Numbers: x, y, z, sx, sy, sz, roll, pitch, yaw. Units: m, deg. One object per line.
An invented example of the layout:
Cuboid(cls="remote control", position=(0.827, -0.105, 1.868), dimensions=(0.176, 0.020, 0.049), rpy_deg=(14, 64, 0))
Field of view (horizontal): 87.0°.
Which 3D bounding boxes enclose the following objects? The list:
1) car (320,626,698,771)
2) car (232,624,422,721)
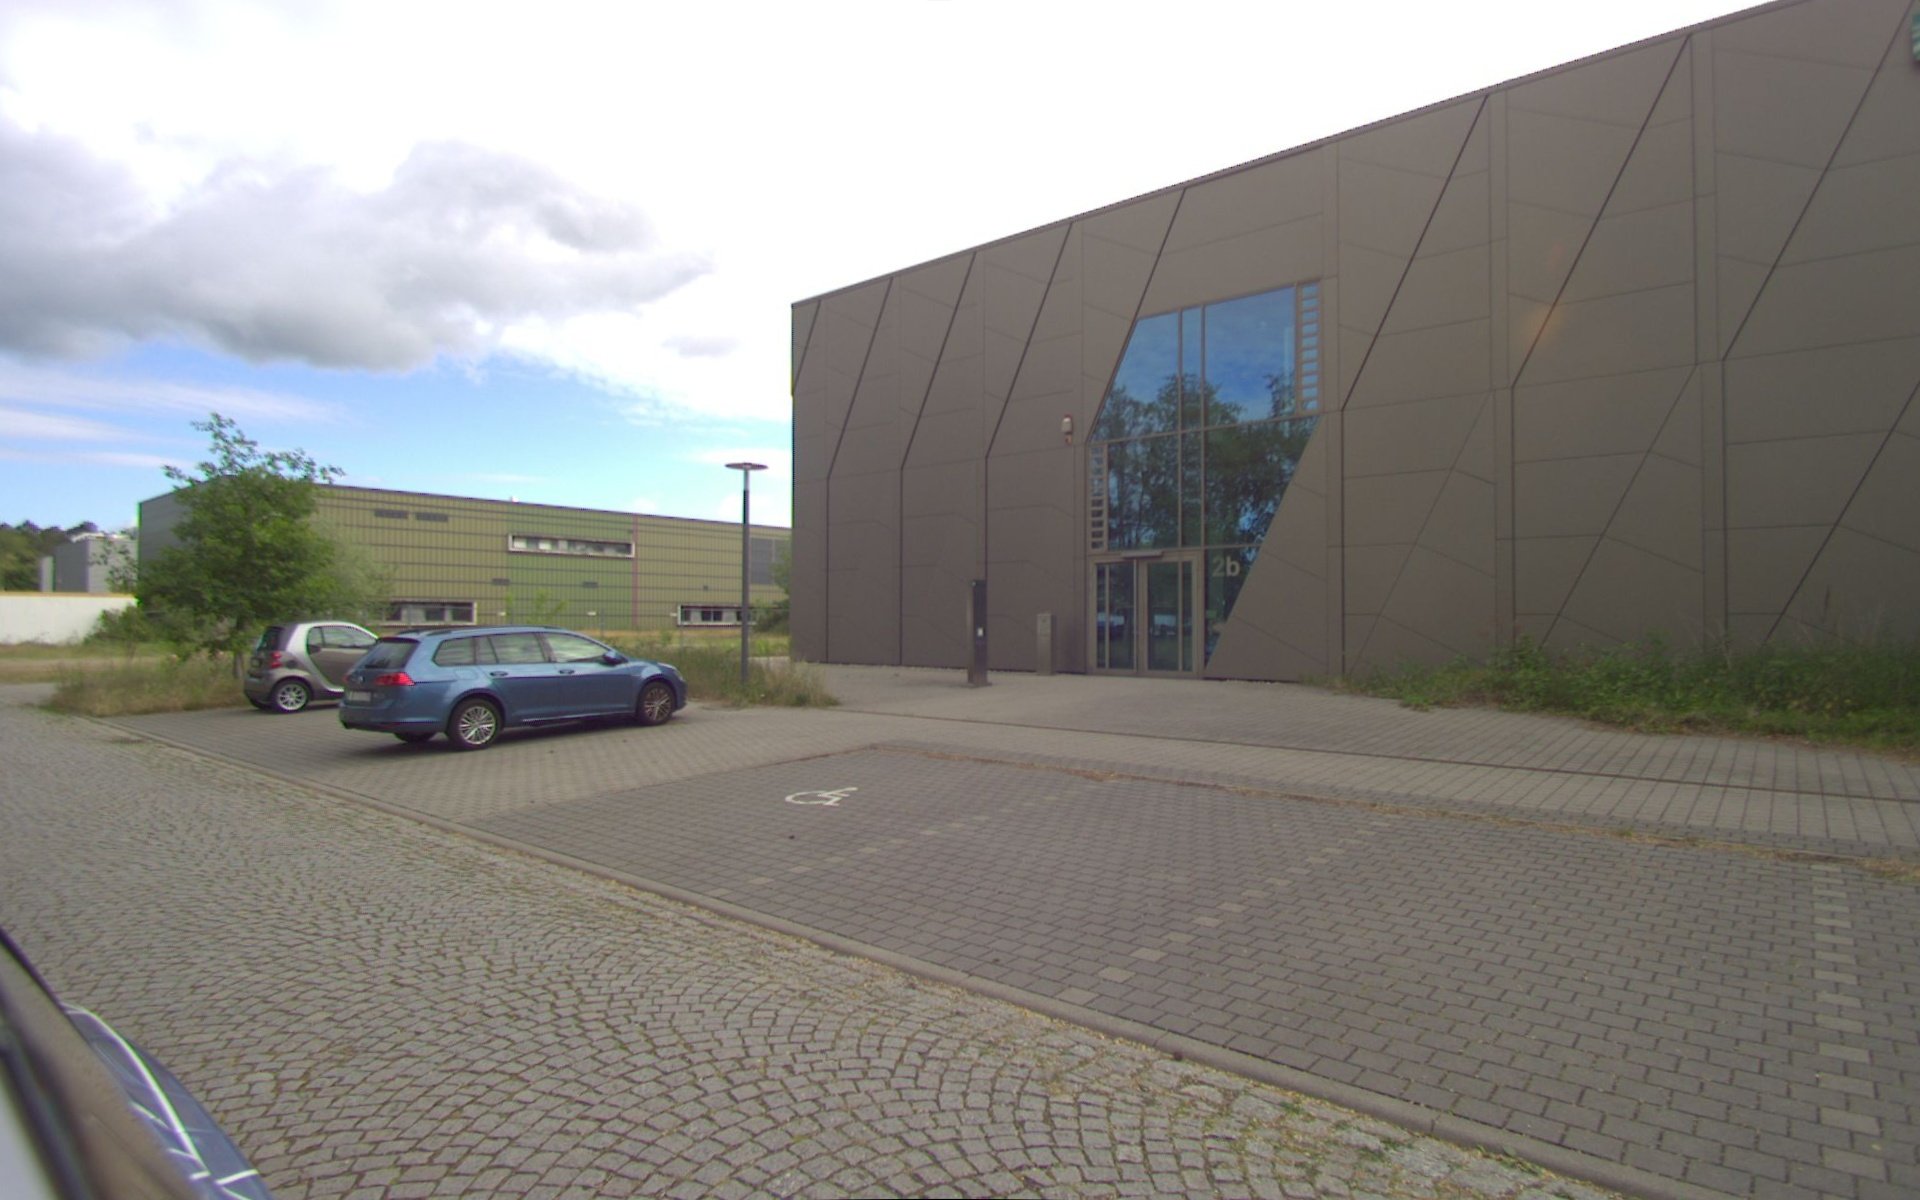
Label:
Cuboid(cls="car", position=(-5.792, 1.152, 13.519), dimensions=(1.631, 1.481, 4.373), rpy_deg=(-1, 0, 37))
Cuboid(cls="car", position=(-11.392, 1.238, 18.302), dimensions=(1.498, 1.541, 2.553), rpy_deg=(-1, 0, 38))
